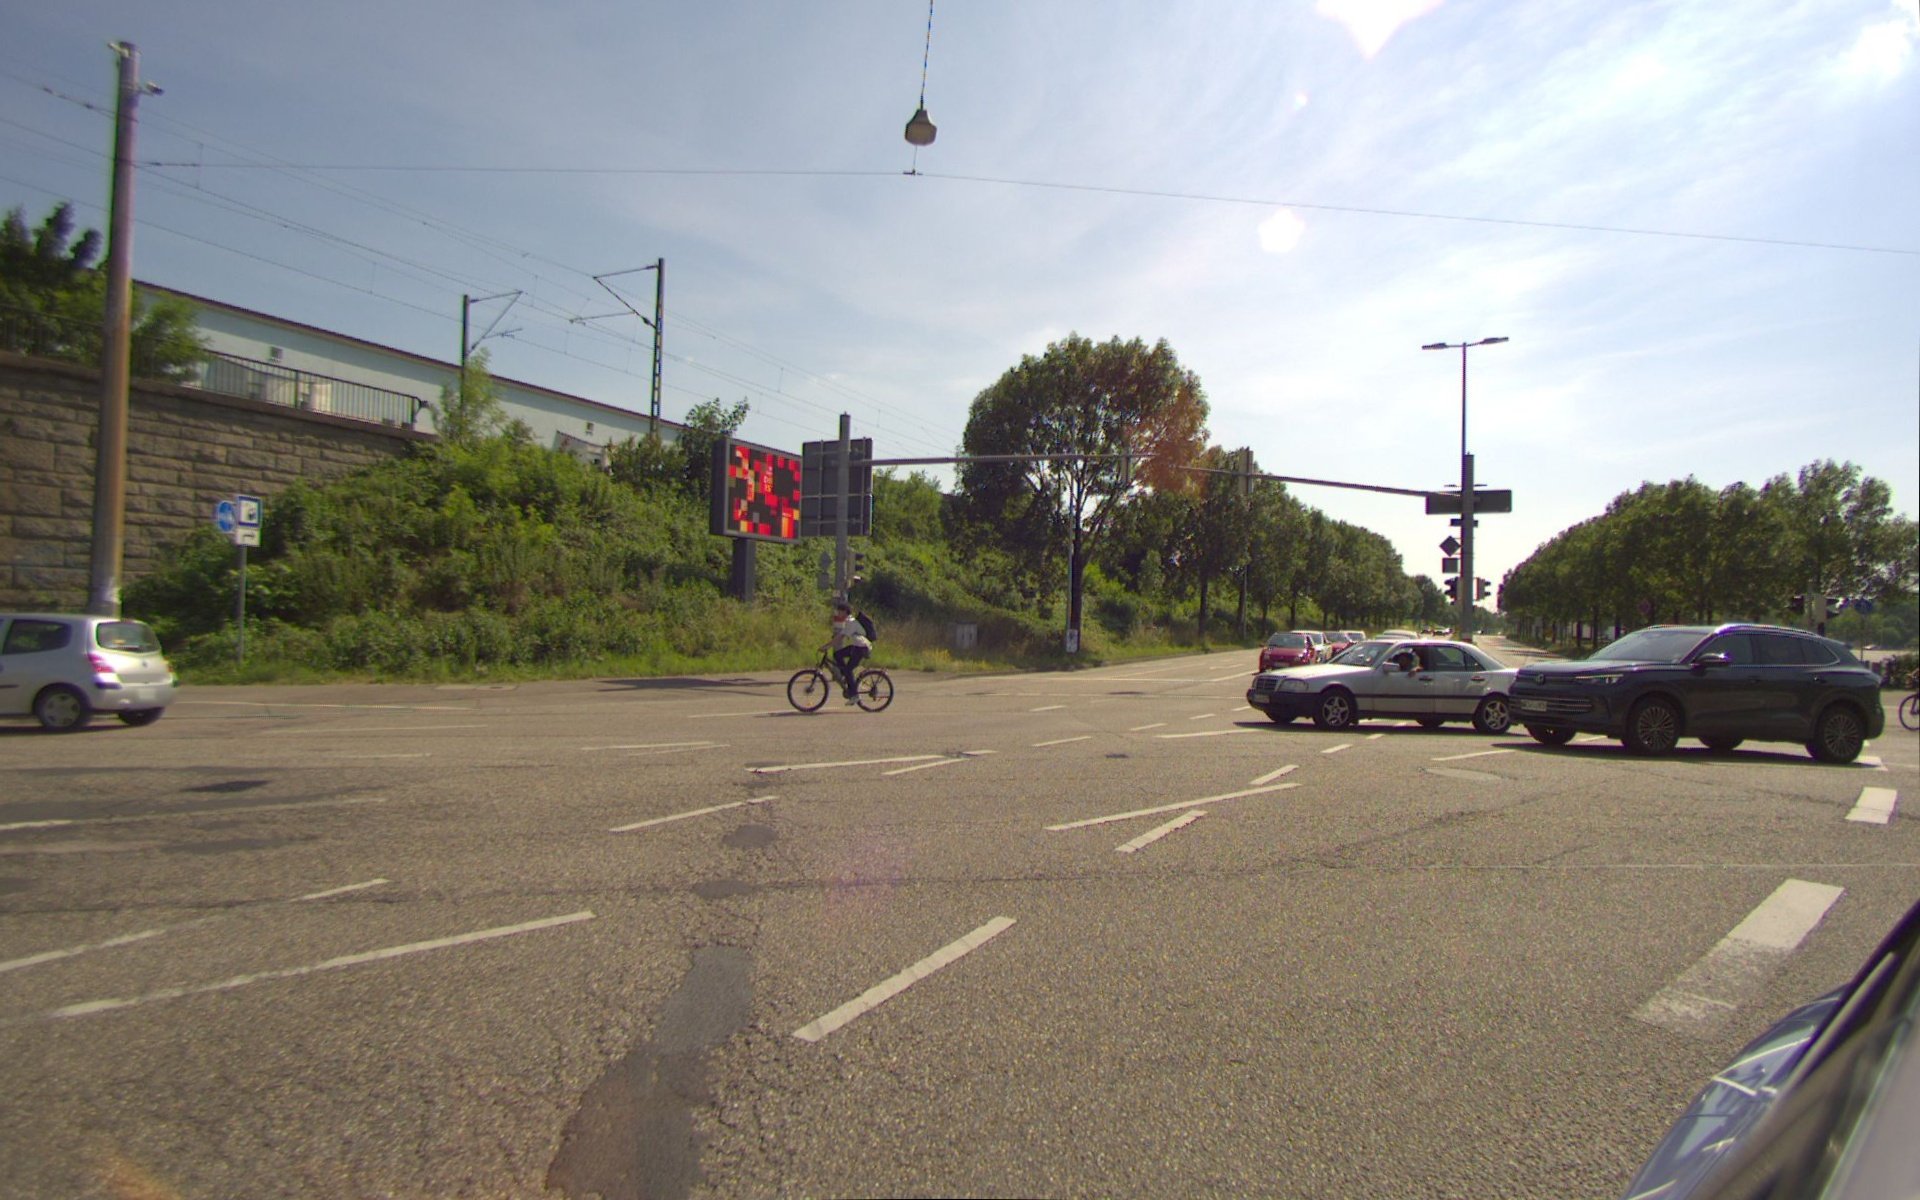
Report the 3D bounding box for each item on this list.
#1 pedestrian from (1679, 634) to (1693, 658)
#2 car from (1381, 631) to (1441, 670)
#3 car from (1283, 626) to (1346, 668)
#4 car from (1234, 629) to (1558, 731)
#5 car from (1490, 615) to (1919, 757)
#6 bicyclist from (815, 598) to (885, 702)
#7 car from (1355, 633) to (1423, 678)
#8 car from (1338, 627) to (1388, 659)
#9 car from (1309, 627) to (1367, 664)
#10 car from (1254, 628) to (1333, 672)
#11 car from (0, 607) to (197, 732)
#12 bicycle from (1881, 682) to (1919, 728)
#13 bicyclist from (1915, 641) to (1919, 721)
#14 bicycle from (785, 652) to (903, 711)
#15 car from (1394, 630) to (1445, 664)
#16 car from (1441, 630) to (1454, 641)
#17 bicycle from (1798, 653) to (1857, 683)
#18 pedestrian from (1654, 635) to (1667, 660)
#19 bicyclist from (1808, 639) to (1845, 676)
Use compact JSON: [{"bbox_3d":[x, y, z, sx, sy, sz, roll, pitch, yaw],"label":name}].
[{"bbox_3d":[48.085,3.040,67.013,0.573,1.544,0.872,1,-2,25],"label":"pedestrian"},{"bbox_3d":[18.857,2.120,42.226,1.703,1.528,4.161,0,-3,32],"label":"car"},{"bbox_3d":[13.939,1.865,39.700,1.701,1.528,3.957,0,-3,29],"label":"car"},{"bbox_3d":[6.690,1.209,15.704,4.349,1.409,1.718,2,-2,-9],"label":"car"},{"bbox_3d":[9.750,1.073,13.105,4.873,1.628,1.951,2,-1,-8],"label":"car"},{"bbox_3d":[-1.844,0.833,16.876,1.046,1.655,0.807,2,-3,-9],"label":"bicyclist"},{"bbox_3d":[15.696,2.028,36.932,1.703,1.528,3.952,0,-3,32],"label":"car"},{"bbox_3d":[20.621,2.229,51.746,1.703,1.528,3.952,0,-3,32],"label":"car"},{"bbox_3d":[17.067,2.068,45.613,1.703,1.528,3.952,0,-3,32],"label":"car"},{"bbox_3d":[11.582,1.750,35.003,1.703,1.411,3.952,0,-3,32],"label":"car"},{"bbox_3d":[-12.289,0.829,12.788,3.813,1.470,1.718,2,-2,-8],"label":"car"},{"bbox_3d":[19.602,2.092,20.179,2.253,0.846,0.548,2,-1,-9],"label":"bicycle"},{"bbox_3d":[19.757,1.640,20.221,0.890,1.587,0.548,1,-1,-9],"label":"bicyclist"},{"bbox_3d":[-1.941,1.351,16.838,1.886,0.904,0.818,2,-3,-10],"label":"bicycle"},{"bbox_3d":[22.105,2.261,48.590,1.703,1.528,3.952,0,-3,32],"label":"car"},{"bbox_3d":[88.350,6.422,183.542,1.981,1.772,4.230,1,-2,27],"label":"car"},{"bbox_3d":[35.592,2.771,41.566,0.873,1.073,2.753,1,-1,20],"label":"bicycle"},{"bbox_3d":[47.873,3.247,69.183,0.624,1.731,0.761,1,-2,25],"label":"pedestrian"},{"bbox_3d":[35.627,2.336,41.622,0.873,1.461,0.959,1,-1,20],"label":"bicyclist"}]
